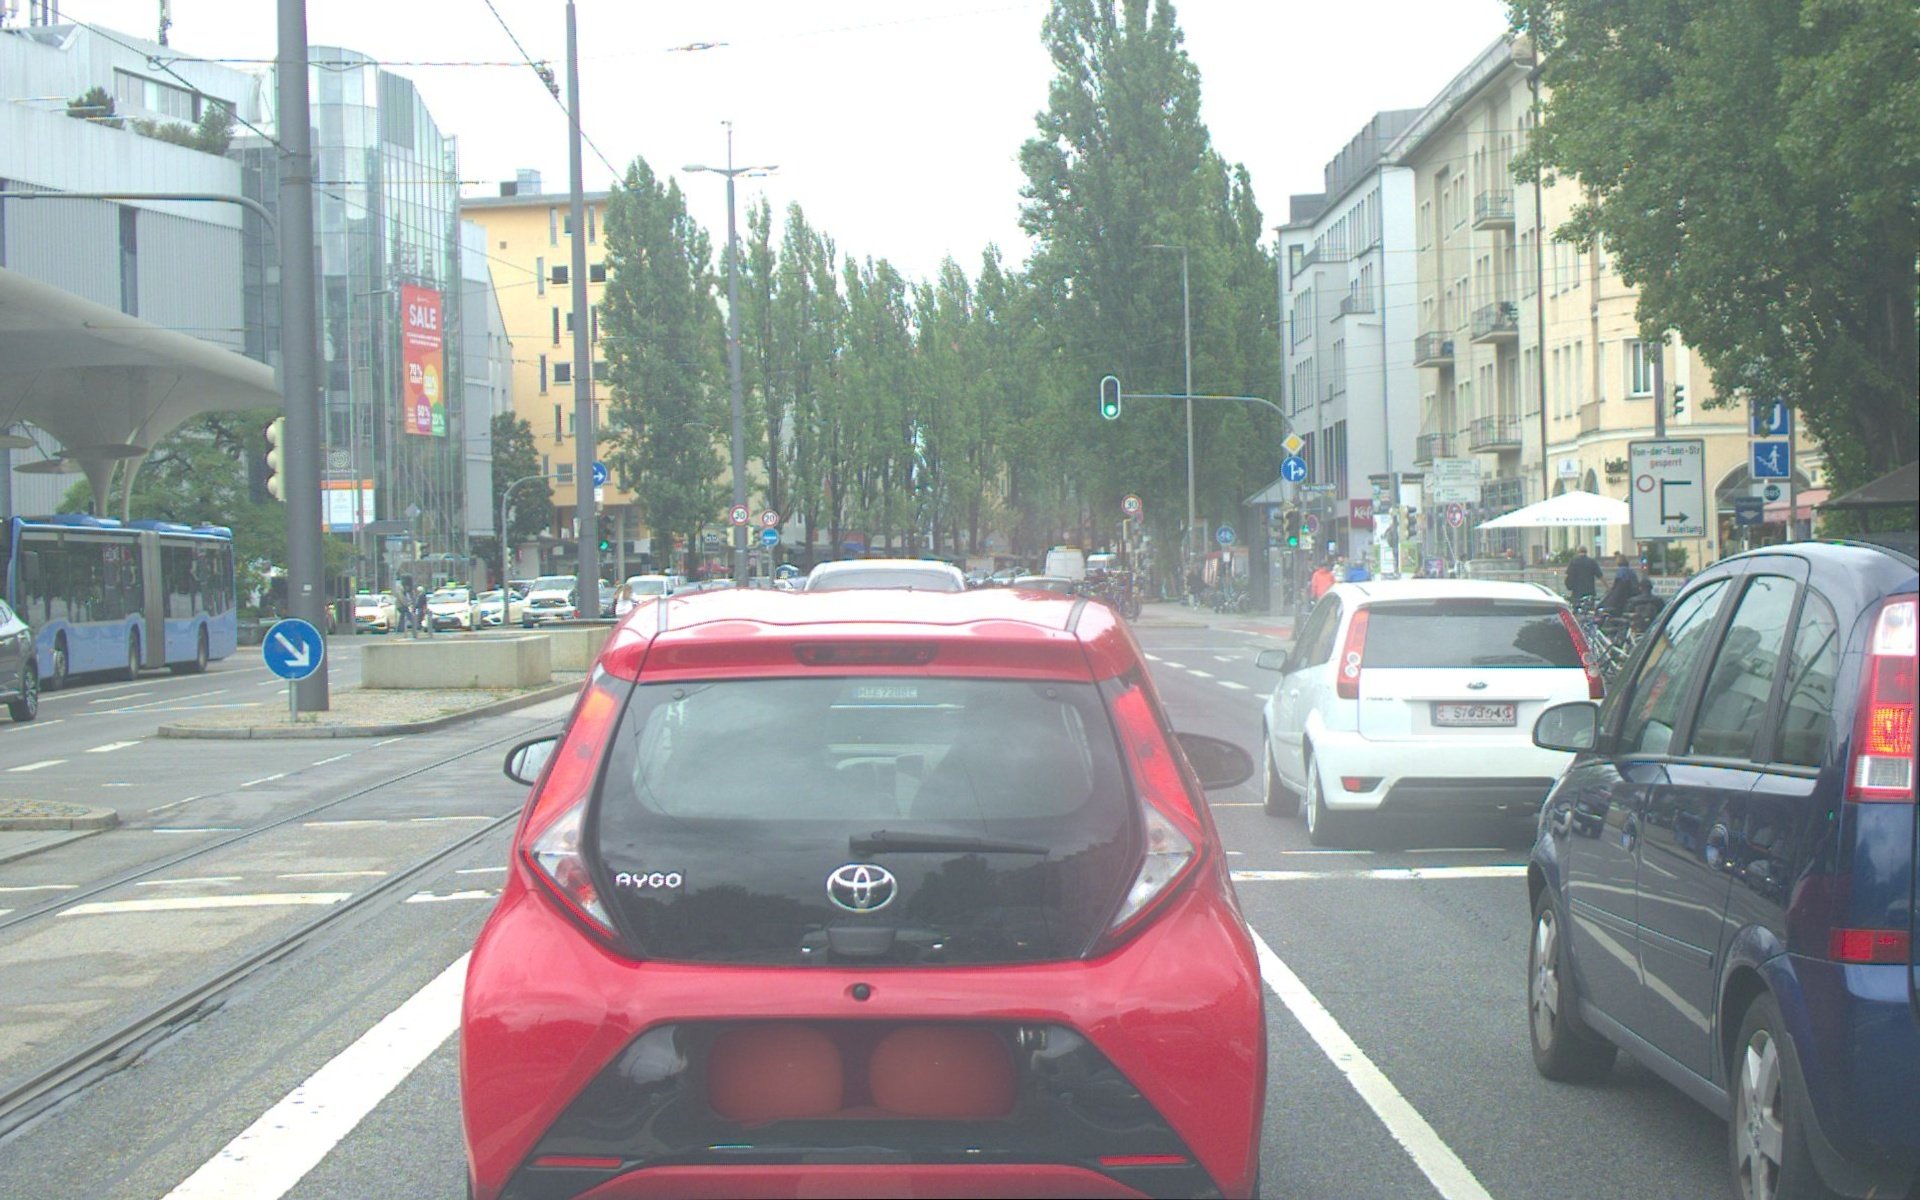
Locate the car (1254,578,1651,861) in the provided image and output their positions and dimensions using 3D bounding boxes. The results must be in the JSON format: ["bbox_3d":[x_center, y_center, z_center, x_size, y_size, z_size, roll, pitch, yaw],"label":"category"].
[{"bbox_3d":[2.703,0.610,19.578,1.699,1.421,3.497,1,1,-1],"label":"car"}]

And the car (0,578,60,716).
[{"bbox_3d":[-12.380,0.610,41.380,1.863,1.633,4.678,-3,1,-1],"label":"car"}]

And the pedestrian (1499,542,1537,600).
[{"bbox_3d":[17.098,-0.893,105.329,0.933,1.749,1.065,-1,1,0],"label":"pedestrian"}]

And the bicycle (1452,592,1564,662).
[{"bbox_3d":[8.105,0.391,50.909,0.324,0.992,1.841,-2,2,-43],"label":"bicycle"}]

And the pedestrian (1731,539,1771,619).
[{"bbox_3d":[16.278,-0.427,70.760,0.614,1.627,0.678,-1,0,0],"label":"pedestrian"}]

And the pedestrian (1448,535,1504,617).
[{"bbox_3d":[11.138,-0.522,74.199,0.881,1.737,0.858,-1,0,-16],"label":"pedestrian"}]

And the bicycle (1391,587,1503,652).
[{"bbox_3d":[7.732,0.303,54.629,1.840,0.992,0.324,1,2,37],"label":"bicycle"}]

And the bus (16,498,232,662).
[{"bbox_3d":[-16.774,-0.420,69.463,2.660,2.997,7.514,-3,1,-2],"label":"bus"}]

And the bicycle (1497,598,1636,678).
[{"bbox_3d":[7.956,0.490,45.166,1.840,0.992,0.374,1,2,38],"label":"bicycle"}]

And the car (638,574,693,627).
[{"bbox_3d":[-10.944,0.001,127.914,1.786,1.849,4.219,-2,1,-3],"label":"car"}]

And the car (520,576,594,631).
[{"bbox_3d":[-14.823,0.095,126.680,2.175,1.881,6.157,-1,1,-2],"label":"car"}]

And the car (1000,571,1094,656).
[{"bbox_3d":[1.941,0.287,77.888,1.993,1.831,4.000,-1,1,0],"label":"car"}]

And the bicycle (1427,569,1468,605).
[{"bbox_3d":[14.543,-0.391,102.515,0.494,1.055,1.867,-2,1,-15],"label":"bicycle"}]

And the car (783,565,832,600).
[{"bbox_3d":[-7.626,-0.877,172.238,1.743,1.664,4.731,-2,1,5],"label":"car"}]

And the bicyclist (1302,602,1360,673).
[{"bbox_3d":[8.770,0.878,81.324,0.614,1.652,1.250,-2,1,-38],"label":"bicyclist"}]

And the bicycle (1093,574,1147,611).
[{"bbox_3d":[5.238,-0.240,112.741,1.803,1.194,0.558,-1,1,43],"label":"bicycle"}]

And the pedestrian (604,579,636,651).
[{"bbox_3d":[-7.759,0.346,78.407,0.486,1.613,0.558,-2,0,-34],"label":"pedestrian"}]

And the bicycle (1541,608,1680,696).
[{"bbox_3d":[7.863,0.624,41.639,0.374,0.992,1.841,-2,2,-39],"label":"bicycle"}]

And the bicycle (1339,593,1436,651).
[{"bbox_3d":[7.605,0.394,61.264,1.840,0.992,0.347,-2,0,44],"label":"bicycle"}]

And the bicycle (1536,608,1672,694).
[{"bbox_3d":[7.906,0.618,42.280,0.374,0.992,1.841,-2,2,-39],"label":"bicycle"}]

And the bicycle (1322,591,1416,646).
[{"bbox_3d":[7.723,0.351,64.919,1.840,0.992,0.347,-2,0,40],"label":"bicycle"}]

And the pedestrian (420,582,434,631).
[{"bbox_3d":[-19.574,0.237,126.197,0.445,1.754,0.356,-1,1,-5],"label":"pedestrian"}]

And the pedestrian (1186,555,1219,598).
[{"bbox_3d":[8.773,-0.859,124.342,0.809,1.517,0.800,-2,1,-37],"label":"pedestrian"}]

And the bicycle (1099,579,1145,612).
[{"bbox_3d":[5.241,-0.140,111.226,0.498,1.025,1.601,-2,1,-42],"label":"bicycle"}]

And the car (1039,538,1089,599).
[{"bbox_3d":[4.763,-1.467,158.413,2.107,2.709,4.804,-1,1,0],"label":"car"}]

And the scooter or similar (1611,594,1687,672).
[{"bbox_3d":[9.894,0.468,49.385,0.775,1.071,1.256,-1,1,-2],"label":"scooter or similar"}]

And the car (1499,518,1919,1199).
[{"bbox_3d":[2.498,0.625,8.611,1.703,1.584,3.556,1,1,0],"label":"car"}]

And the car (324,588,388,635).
[{"bbox_3d":[-21.822,0.390,124.086,1.993,1.531,4.416,-3,1,-12],"label":"car"}]

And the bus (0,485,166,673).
[{"bbox_3d":[-16.391,-0.326,60.488,2.660,2.997,10.516,-3,1,-2],"label":"bus"}]

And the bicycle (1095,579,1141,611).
[{"bbox_3d":[5.161,-0.151,112.082,0.498,1.025,1.601,-2,1,-42],"label":"bicycle"}]

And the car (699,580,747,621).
[{"bbox_3d":[-8.878,0.016,129.090,1.545,1.440,3.539,-2,1,-1],"label":"car"}]

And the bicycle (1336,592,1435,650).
[{"bbox_3d":[7.656,0.387,61.933,1.840,0.992,0.347,-2,0,40],"label":"bicycle"}]

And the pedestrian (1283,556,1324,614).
[{"bbox_3d":[10.145,-0.440,101.534,0.836,1.685,0.818,-1,1,37],"label":"pedestrian"}]

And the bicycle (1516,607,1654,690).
[{"bbox_3d":[7.944,0.604,43.738,1.841,0.992,0.374,1,2,45],"label":"bicycle"}]

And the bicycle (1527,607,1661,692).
[{"bbox_3d":[7.924,0.611,43.044,0.374,0.992,1.841,-2,2,-39],"label":"bicycle"}]

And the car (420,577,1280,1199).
[{"bbox_3d":[-0.182,0.688,8.002,1.605,1.456,3.130,0,1,1],"label":"car"}]

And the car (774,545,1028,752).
[{"bbox_3d":[-0.492,0.361,29.402,1.993,1.612,4.000,-1,1,-1],"label":"car"}]

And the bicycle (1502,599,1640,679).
[{"bbox_3d":[7.900,0.496,44.485,1.840,0.992,0.374,1,2,42],"label":"bicycle"}]

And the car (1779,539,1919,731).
[{"bbox_3d":[8.137,0.229,27.304,1.993,1.435,4.530,-1,1,-2],"label":"car"}]

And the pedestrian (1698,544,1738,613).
[{"bbox_3d":[15.767,-0.442,71.500,0.675,1.418,0.617,-1,0,0],"label":"pedestrian"}]

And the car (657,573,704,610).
[{"bbox_3d":[-11.371,-0.362,140.042,1.677,1.391,4.233,-3,1,-2],"label":"car"}]

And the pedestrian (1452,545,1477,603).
[{"bbox_3d":[14.706,-0.752,100.235,0.566,1.665,0.562,-1,4,22],"label":"pedestrian"}]

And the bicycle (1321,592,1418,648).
[{"bbox_3d":[7.547,0.371,63.396,1.840,0.992,0.347,-2,0,40],"label":"bicycle"}]

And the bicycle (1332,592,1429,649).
[{"bbox_3d":[7.649,0.380,62.588,1.840,0.992,0.347,-2,0,40],"label":"bicycle"}]

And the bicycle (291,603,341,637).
[{"bbox_3d":[-21.559,0.680,115.118,1.574,1.108,0.373,-1,1,4],"label":"bicycle"}]

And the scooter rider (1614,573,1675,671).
[{"bbox_3d":[9.845,0.308,49.478,0.700,1.384,0.643,-1,0,-2],"label":"scooter rider"}]

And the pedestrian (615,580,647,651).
[{"bbox_3d":[-7.479,0.351,78.114,0.521,1.613,0.463,-1,0,44],"label":"pedestrian"}]

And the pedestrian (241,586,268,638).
[{"bbox_3d":[-24.345,0.421,118.643,0.749,1.767,0.773,-2,1,-23],"label":"pedestrian"}]
